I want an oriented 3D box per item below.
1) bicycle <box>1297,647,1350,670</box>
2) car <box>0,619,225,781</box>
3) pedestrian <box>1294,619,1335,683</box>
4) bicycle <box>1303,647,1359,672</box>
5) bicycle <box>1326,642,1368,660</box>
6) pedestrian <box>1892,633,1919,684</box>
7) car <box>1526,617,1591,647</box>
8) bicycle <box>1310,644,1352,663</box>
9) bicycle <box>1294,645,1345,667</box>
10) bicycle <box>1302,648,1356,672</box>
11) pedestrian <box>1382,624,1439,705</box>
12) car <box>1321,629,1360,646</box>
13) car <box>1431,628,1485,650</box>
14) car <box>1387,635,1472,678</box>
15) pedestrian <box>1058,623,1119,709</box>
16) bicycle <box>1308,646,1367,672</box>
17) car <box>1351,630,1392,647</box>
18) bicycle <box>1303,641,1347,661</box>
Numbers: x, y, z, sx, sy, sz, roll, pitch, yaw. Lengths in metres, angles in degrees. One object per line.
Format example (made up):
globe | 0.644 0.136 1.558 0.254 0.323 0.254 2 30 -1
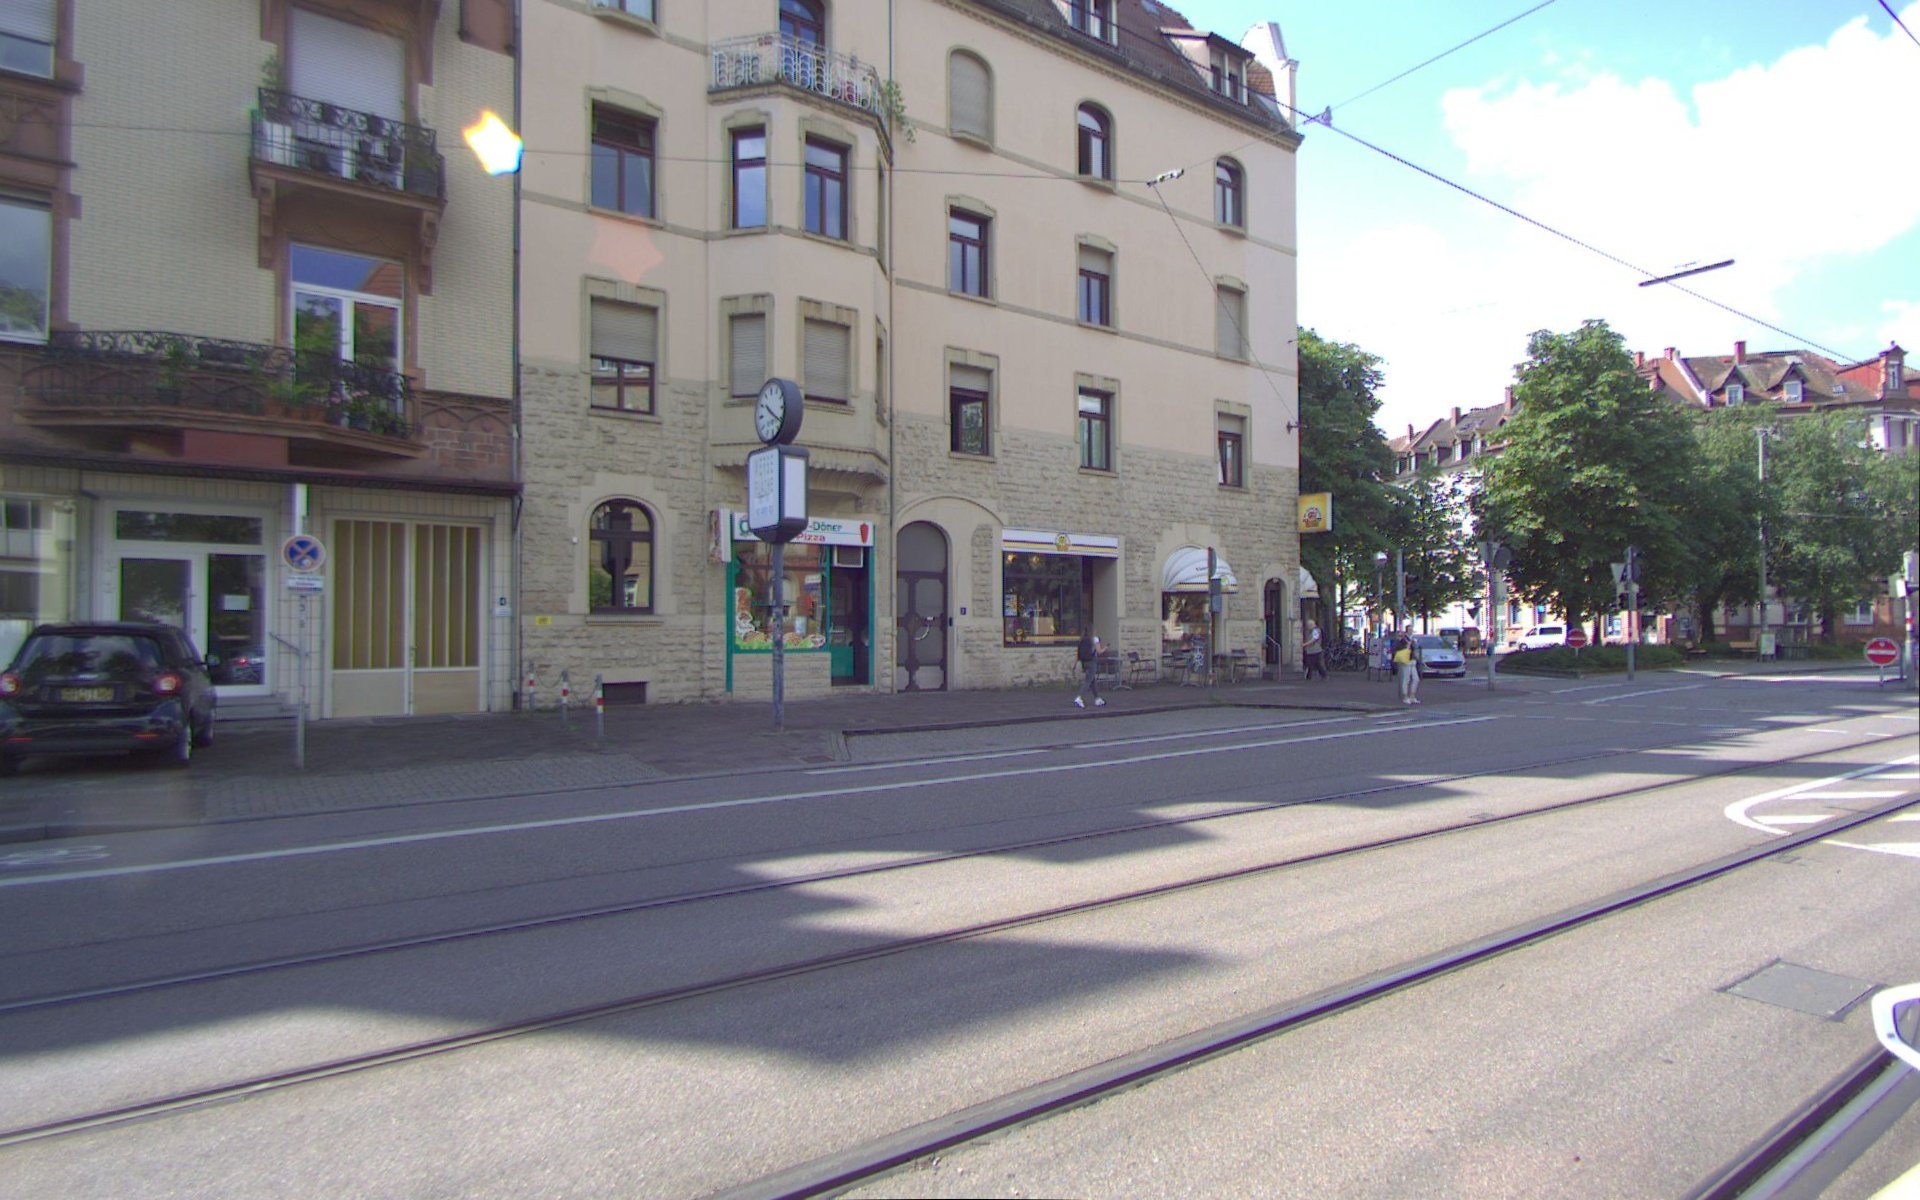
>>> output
bicycle | 15.017 2.397 41.524 1.990 0.894 0.512 1 -1 12
car | -9.700 1.011 11.615 1.688 1.506 3.425 1 0 -32
pedestrian | 9.660 1.379 27.374 0.806 1.694 0.858 0 -2 1
bicycle | 14.386 2.317 39.012 1.990 0.894 0.512 1 -1 12
bicycle | 20.519 2.682 53.229 1.994 0.910 0.571 0 -2 29
pedestrian | 24.954 1.524 26.186 0.711 1.320 0.819 1 -4 -38
car | 42.227 2.237 70.937 1.823 2.015 3.941 0 -2 -10
bicycle | 19.007 2.738 51.469 1.994 0.910 0.571 0 -2 29
bicycle | 15.448 2.408 43.188 1.990 0.894 0.547 1 -1 12
bicycle | 14.749 2.380 40.197 1.990 0.894 0.512 1 -1 12
pedestrian | 10.001 1.411 22.318 0.865 1.727 0.751 1 2 -35
car | 36.348 3.551 96.016 1.687 1.575 3.912 0 -2 -12
car | 39.892 3.116 80.606 1.882 1.685 3.933 0 -2 -11
car | 16.455 1.944 35.391 1.686 1.439 3.876 -1 -2 9
pedestrian | 2.495 1.261 19.496 0.686 1.562 0.957 4 3 45
bicycle | 14.148 2.208 37.683 1.990 0.894 0.523 1 -1 12
car | 37.389 3.503 91.306 1.602 1.513 3.638 0 -2 -13
bicycle | 18.007 2.502 49.561 1.993 0.910 0.571 0 -2 26
